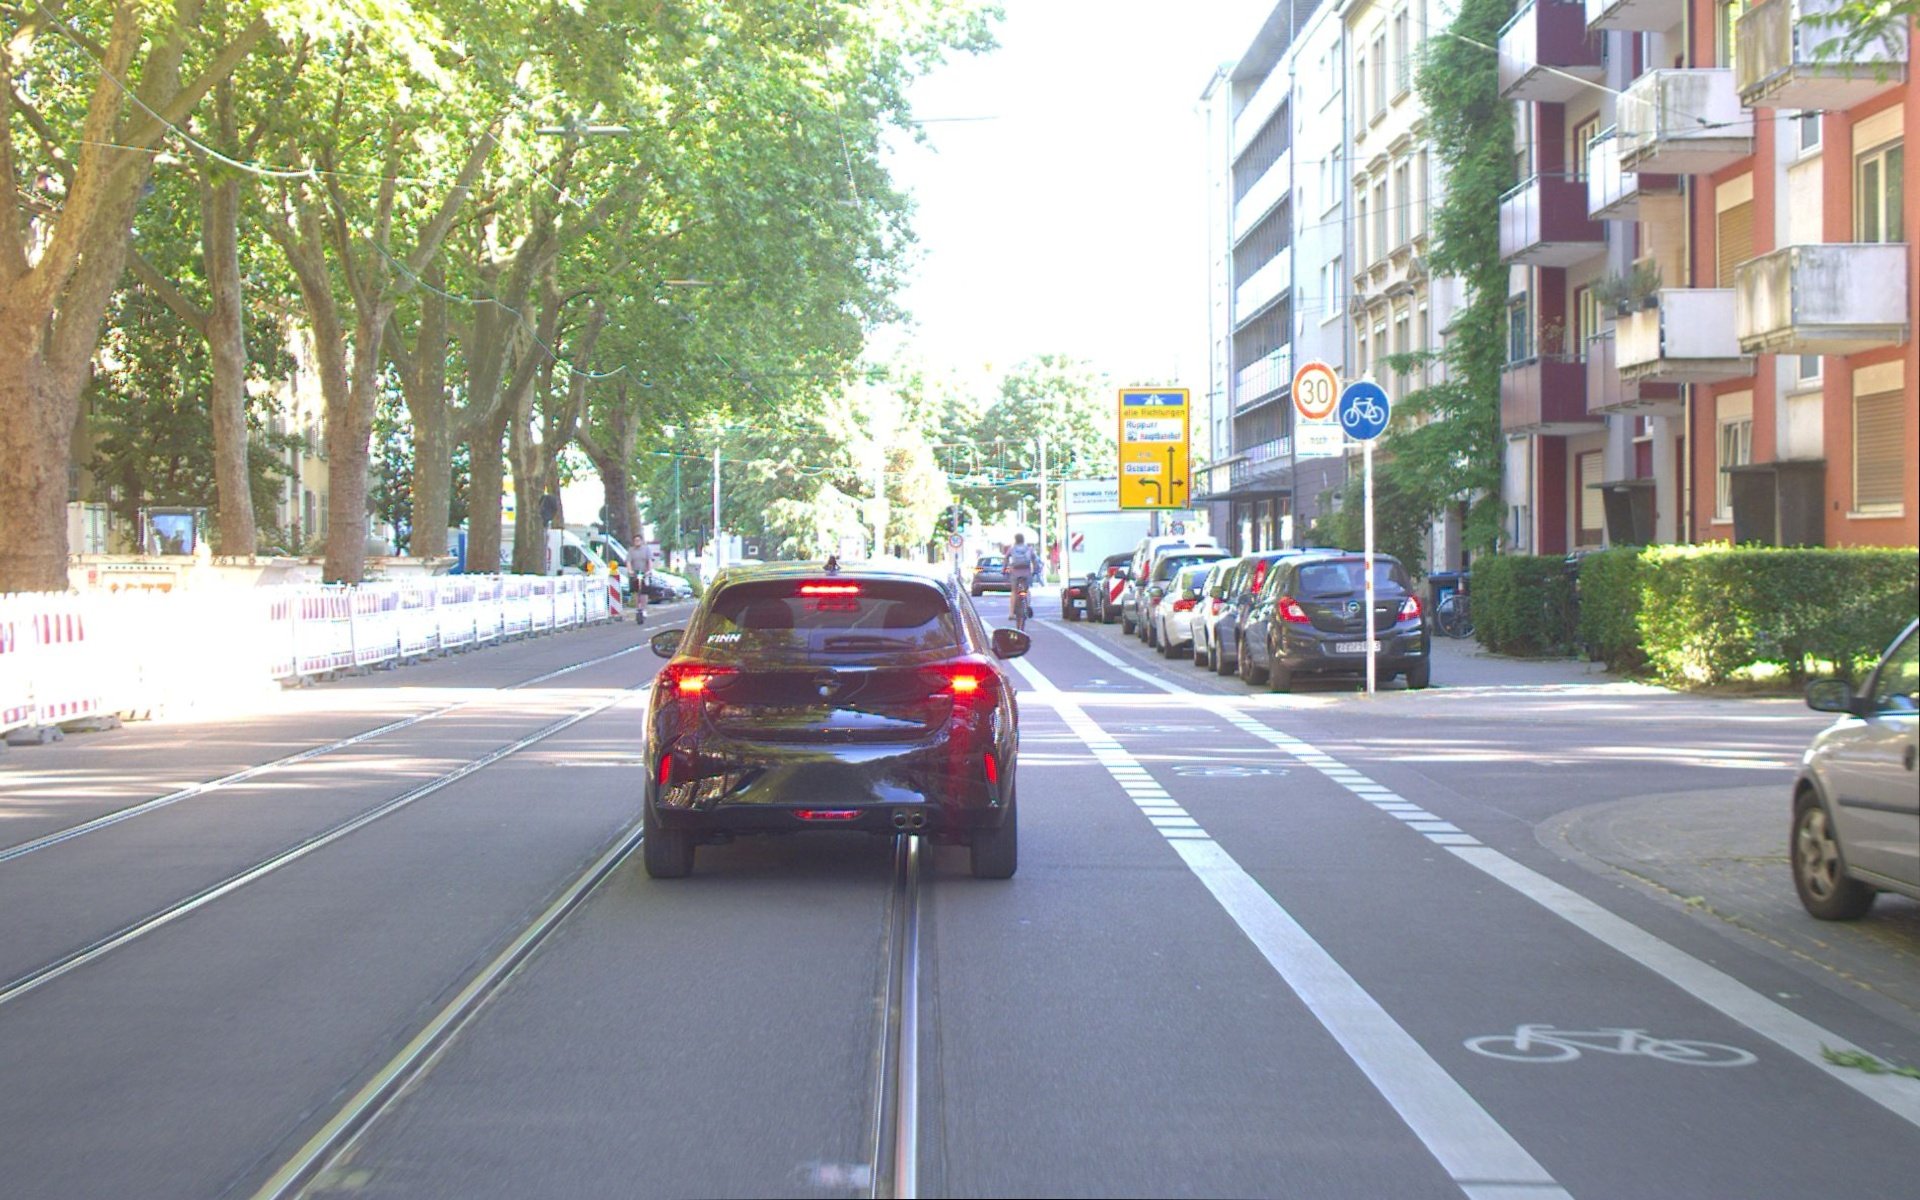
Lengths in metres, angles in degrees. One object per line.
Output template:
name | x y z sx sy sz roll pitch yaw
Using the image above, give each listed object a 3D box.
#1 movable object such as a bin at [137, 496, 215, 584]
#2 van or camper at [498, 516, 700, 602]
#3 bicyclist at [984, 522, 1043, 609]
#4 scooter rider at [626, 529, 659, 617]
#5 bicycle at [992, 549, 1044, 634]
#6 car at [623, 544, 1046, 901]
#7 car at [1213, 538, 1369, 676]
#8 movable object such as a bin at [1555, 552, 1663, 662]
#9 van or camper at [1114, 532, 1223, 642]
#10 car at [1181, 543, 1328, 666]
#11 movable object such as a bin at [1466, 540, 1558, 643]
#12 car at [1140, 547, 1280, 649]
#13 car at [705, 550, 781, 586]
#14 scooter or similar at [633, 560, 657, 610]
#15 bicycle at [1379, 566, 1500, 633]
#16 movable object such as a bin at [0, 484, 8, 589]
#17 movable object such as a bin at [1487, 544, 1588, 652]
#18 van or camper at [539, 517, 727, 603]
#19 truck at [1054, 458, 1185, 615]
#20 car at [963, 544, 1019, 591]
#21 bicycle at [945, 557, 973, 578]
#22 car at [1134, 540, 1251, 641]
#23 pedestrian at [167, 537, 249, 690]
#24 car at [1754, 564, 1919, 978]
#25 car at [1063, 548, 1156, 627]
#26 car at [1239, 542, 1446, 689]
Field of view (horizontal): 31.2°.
movable object such as a bin | -14.868 -1.129 65.243 1.097 1.640 1.560 1 0 0
van or camper | -10.494 -1.190 100.204 5.502 2.371 2.269 1 0 3
bicyclist | 1.006 -0.663 65.487 1.089 1.641 1.400 1 1 0
scooter rider | -7.064 -0.595 76.499 0.649 1.950 0.624 1 0 0
bicycle | 1.099 -0.180 65.723 0.916 1.555 3.405 1 1 0
car | -0.562 0.488 16.565 1.781 1.491 4.000 1 1 -1
car | 4.007 0.068 42.054 1.526 1.584 3.752 1 0 0
movable object such as a bin | 7.942 0.082 42.107 1.152 1.322 0.775 1 0 0
van or camper | 3.726 -0.265 61.919 1.669 1.876 4.211 -1 1 0
car | 3.911 0.042 46.149 1.591 1.521 3.835 -2 0 0
movable object such as a bin | 7.264 -0.116 45.317 0.923 1.322 1.682 1 0 0
car | 3.723 -0.068 51.896 1.659 1.394 4.740 -2 1 -1
car | -11.088 -1.617 175.308 1.917 1.690 4.322 -3 1 -33
scooter or similar | -7.012 -0.337 76.550 0.407 1.079 1.338 1 0 0
bicycle | 7.796 -0.005 55.964 1.894 1.026 0.476 -2 1 5
movable object such as a bin | -17.633 -1.129 60.251 1.333 1.862 2.008 1 0 0
movable object such as a bin | 7.295 -0.031 43.473 0.967 1.322 1.721 1 0 0
van or camper | -10.374 -1.271 109.493 5.723 2.635 2.269 1 0 0
truck | 3.611 -1.439 79.118 2.538 3.326 7.195 -3 1 0
car | 1.198 -1.276 133.474 1.993 1.690 4.740 -2 1 -1
bicycle | -0.054 -1.613 169.691 0.789 0.988 2.241 1 0 16
car | 3.817 -0.180 56.906 1.660 1.575 3.589 -1 1 0
pedestrian | -8.316 0.145 38.043 0.716 1.663 0.778 1 0 0
car | 4.312 0.615 12.856 1.705 1.468 4.000 -1 1 -1
car | 3.140 -0.281 72.778 1.731 1.552 4.152 -3 1 0
car | 4.144 0.130 37.777 1.733 1.457 3.916 -2 1 -1
